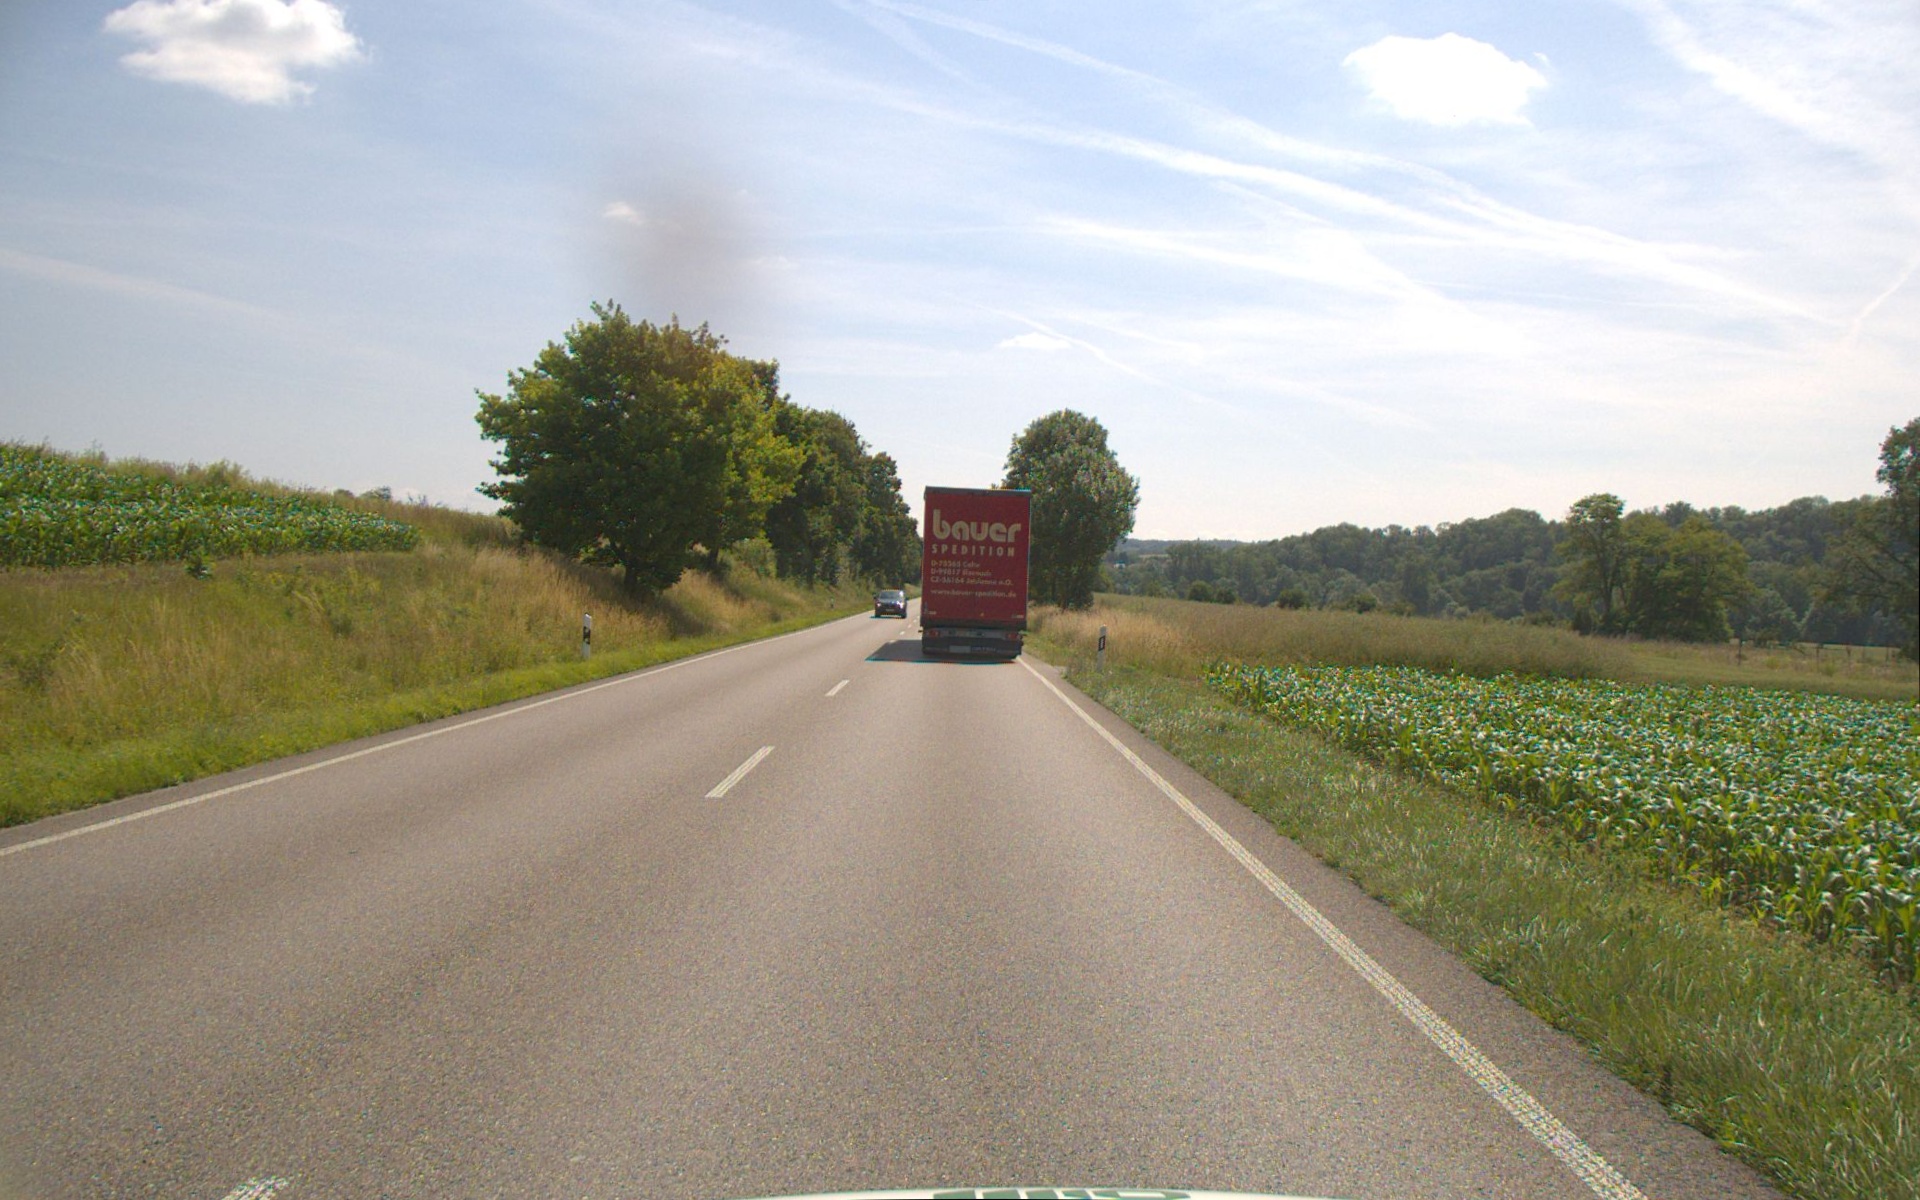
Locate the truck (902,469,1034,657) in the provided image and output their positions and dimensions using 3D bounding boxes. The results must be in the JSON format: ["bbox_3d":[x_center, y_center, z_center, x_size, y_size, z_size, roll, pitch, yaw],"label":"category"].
[{"bbox_3d":[0.286,-0.813,42.380,3.030,4.337,8.315,0,-1,1],"label":"truck"}]

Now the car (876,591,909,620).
[{"bbox_3d":[-3.776,0.323,92.809,1.622,1.561,4.357,1,0,0],"label":"car"}]
